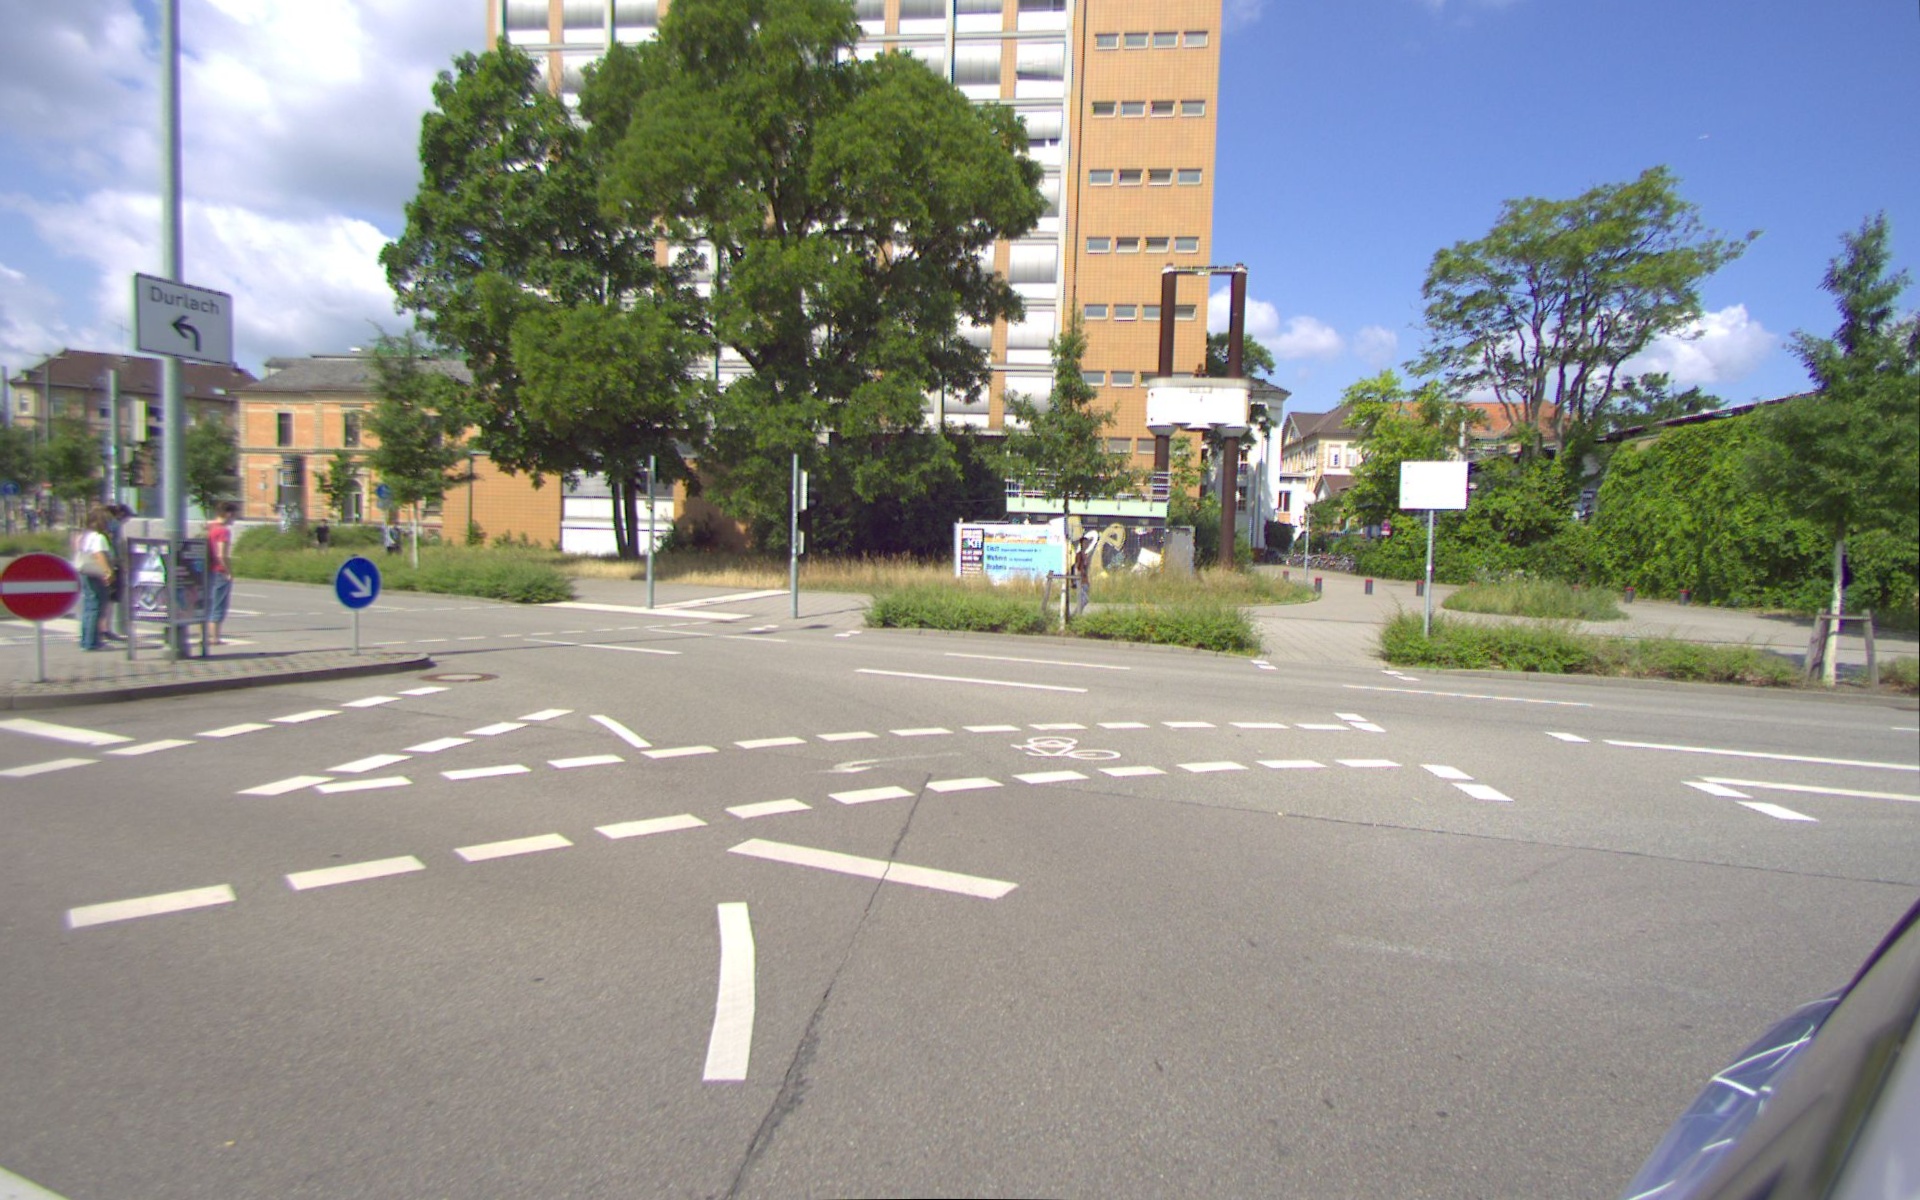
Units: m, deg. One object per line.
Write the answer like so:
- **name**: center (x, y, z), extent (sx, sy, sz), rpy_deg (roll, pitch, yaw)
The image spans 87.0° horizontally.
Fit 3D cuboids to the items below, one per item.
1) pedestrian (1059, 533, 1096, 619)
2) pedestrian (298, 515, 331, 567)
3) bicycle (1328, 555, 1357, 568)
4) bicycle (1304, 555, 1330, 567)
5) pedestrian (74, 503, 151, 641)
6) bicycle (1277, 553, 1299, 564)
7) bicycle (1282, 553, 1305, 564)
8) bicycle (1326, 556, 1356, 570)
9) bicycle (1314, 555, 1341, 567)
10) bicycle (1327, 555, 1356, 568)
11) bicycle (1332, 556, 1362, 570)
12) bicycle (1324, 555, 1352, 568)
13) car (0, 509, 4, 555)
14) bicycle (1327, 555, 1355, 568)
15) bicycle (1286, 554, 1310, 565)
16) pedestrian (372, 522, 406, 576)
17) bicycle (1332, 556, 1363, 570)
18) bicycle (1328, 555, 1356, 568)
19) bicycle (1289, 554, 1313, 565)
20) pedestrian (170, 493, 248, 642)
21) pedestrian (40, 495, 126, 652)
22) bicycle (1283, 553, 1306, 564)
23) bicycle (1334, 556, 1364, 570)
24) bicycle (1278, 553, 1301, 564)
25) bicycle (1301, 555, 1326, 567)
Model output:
- **pedestrian**: center (2.442, -0.507, 21.032), extent (0.570, 1.754, 0.658), rpy_deg (3, 3, 19)
- **pedestrian**: center (-22.886, -2.075, 35.874), extent (0.663, 1.805, 0.781), rpy_deg (3, 3, 35)
- **bicycle**: center (22.674, -2.309, 60.020), extent (1.537, 0.728, 0.507), rpy_deg (2, 3, 15)
- **bicycle**: center (23.274, -2.571, 66.007), extent (1.537, 0.728, 0.507), rpy_deg (2, 3, 15)
- **pedestrian**: center (-10.798, -0.365, 12.907), extent (0.616, 1.704, 0.523), rpy_deg (3, 3, 21)
- **bicycle**: center (24.954, -3.159, 77.117), extent (1.537, 0.728, 0.507), rpy_deg (2, 3, 15)
- **bicycle**: center (24.522, -3.074, 74.363), extent (1.537, 0.728, 0.507), rpy_deg (2, 3, 15)
- **bicycle**: center (22.131, -2.140, 58.809), extent (1.537, 0.728, 0.507), rpy_deg (2, 3, 15)
- **bicycle**: center (23.526, -2.483, 64.839), extent (1.537, 0.728, 0.507), rpy_deg (2, 3, 15)
- **bicycle**: center (22.863, -2.330, 60.707), extent (1.537, 0.728, 0.507), rpy_deg (2, 3, 15)
- **bicycle**: center (22.660, -2.166, 59.303), extent (1.537, 0.728, 0.507), rpy_deg (2, 3, 15)
- **bicycle**: center (23.428, -2.390, 62.789), extent (1.537, 0.728, 0.507), rpy_deg (2, 3, 15)
- **car**: center (-40.343, -2.785, 40.827), extent (3.980, 1.816, 1.974), rpy_deg (4, 5, 38)
- **bicycle**: center (23.081, -2.345, 61.301), extent (1.537, 0.728, 0.507), rpy_deg (2, 3, 15)
- **bicycle**: center (23.937, -2.902, 71.754), extent (1.537, 0.728, 0.507), rpy_deg (2, 3, 15)
- **pedestrian**: center (-19.655, -1.765, 34.832), extent (0.661, 1.805, 0.782), rpy_deg (3, 3, 29)
- **bicycle**: center (21.851, -2.085, 57.096), extent (1.537, 0.728, 0.507), rpy_deg (2, 3, 15)
- **bicycle**: center (23.356, -2.360, 61.934), extent (1.537, 0.728, 0.507), rpy_deg (2, 3, 15)
- **bicycle**: center (23.906, -2.862, 71.057), extent (1.537, 0.728, 0.507), rpy_deg (2, 3, 15)
- **pedestrian**: center (-9.153, -0.402, 12.349), extent (0.616, 1.754, 0.523), rpy_deg (3, 3, 21)
- **pedestrian**: center (-10.179, -0.317, 11.756), extent (0.616, 1.754, 0.523), rpy_deg (3, 3, 21)
- **bicycle**: center (24.403, -3.034, 73.826), extent (1.537, 0.728, 0.507), rpy_deg (2, 3, 15)
- **bicycle**: center (22.287, -2.113, 58.025), extent (1.537, 0.728, 0.507), rpy_deg (2, 3, 15)
- **bicycle**: center (24.548, -3.098, 75.448), extent (1.537, 0.728, 0.507), rpy_deg (2, 3, 15)
- **bicycle**: center (23.646, -2.618, 67.683), extent (1.537, 0.728, 0.507), rpy_deg (2, 3, 15)
